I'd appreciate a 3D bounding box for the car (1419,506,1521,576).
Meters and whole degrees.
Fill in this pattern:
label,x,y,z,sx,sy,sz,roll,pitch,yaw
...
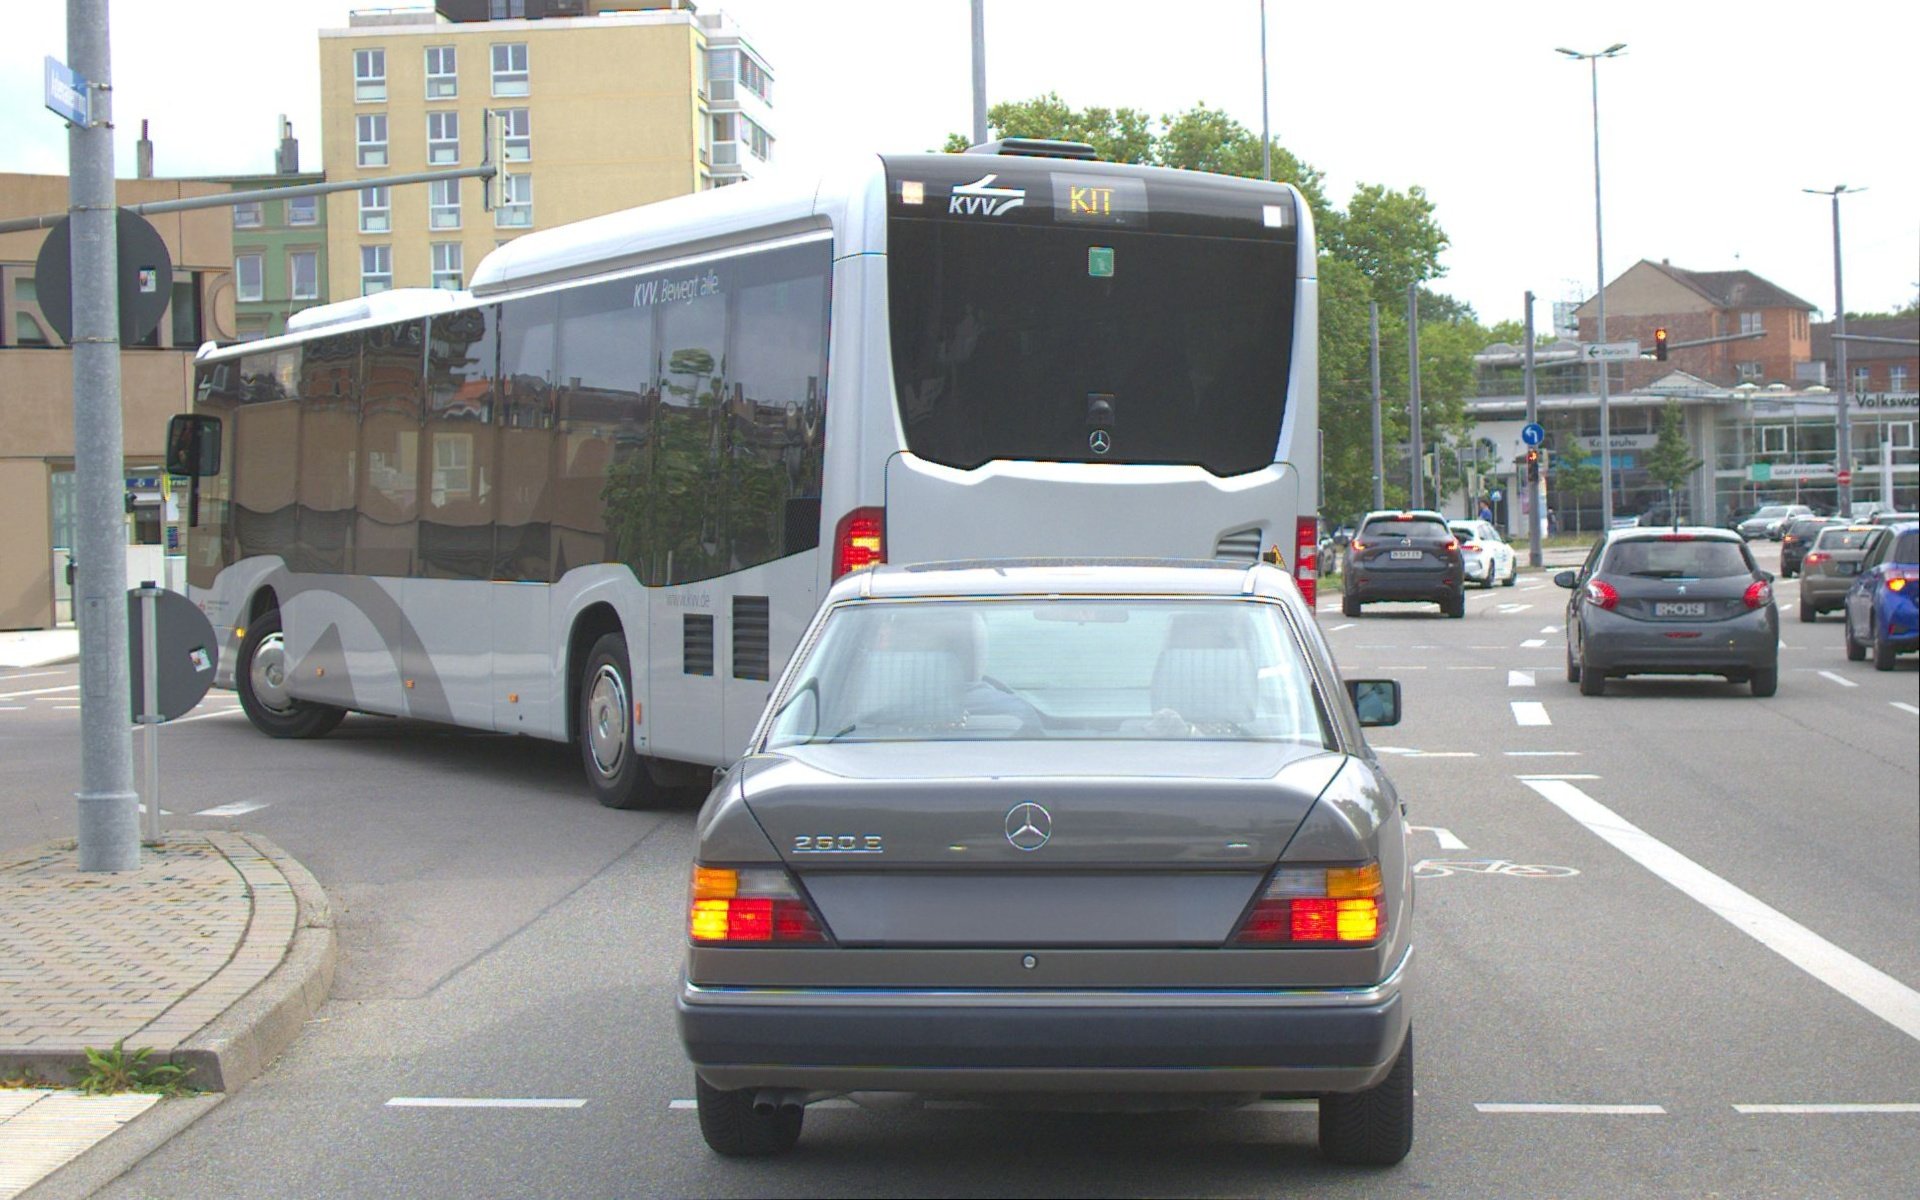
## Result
label,x,y,z,sx,sy,sz,roll,pitch,yaw
car,10.695,-1.239,71.903,1.712,1.415,3.997,1,1,14

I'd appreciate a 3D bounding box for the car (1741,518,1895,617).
label,x,y,z,sx,sy,sz,roll,pitch,yaw
car,12.831,-0.495,51.598,2.133,1.415,3.698,1,1,13

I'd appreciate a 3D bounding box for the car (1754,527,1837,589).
label,x,y,z,sx,sy,sz,roll,pitch,yaw
car,19.847,-1.007,81.613,1.712,1.415,3.997,1,1,16

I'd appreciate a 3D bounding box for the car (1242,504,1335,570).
label,x,y,z,sx,sy,sz,roll,pitch,yaw
car,8.500,-1.614,88.640,1.994,1.645,4.510,1,1,11

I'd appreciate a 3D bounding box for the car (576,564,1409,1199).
label,x,y,z,sx,sy,sz,roll,pitch,yaw
car,0.337,0.657,9.169,1.695,1.475,4.415,0,1,7

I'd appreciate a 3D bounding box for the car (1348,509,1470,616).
label,x,y,z,sx,sy,sz,roll,pitch,yaw
car,7.042,-0.603,53.987,1.835,1.609,3.545,0,1,7

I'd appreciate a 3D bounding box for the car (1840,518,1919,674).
label,x,y,z,sx,sy,sz,roll,pitch,yaw
car,10.077,-0.067,35.556,1.859,1.527,4.000,1,1,14

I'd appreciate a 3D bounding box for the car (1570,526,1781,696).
label,x,y,z,sx,sy,sz,roll,pitch,yaw
car,6.366,0.057,30.896,1.711,1.415,3.998,0,1,10

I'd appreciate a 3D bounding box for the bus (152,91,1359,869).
label,x,y,z,sx,sy,sz,roll,pitch,yaw
bus,-2.349,-0.576,22.151,2.704,3.426,14.186,-3,1,-24

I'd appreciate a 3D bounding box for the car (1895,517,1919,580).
label,x,y,z,sx,sy,sz,roll,pitch,yaw
car,22.427,-1.186,79.011,1.705,1.415,3.698,1,1,16
